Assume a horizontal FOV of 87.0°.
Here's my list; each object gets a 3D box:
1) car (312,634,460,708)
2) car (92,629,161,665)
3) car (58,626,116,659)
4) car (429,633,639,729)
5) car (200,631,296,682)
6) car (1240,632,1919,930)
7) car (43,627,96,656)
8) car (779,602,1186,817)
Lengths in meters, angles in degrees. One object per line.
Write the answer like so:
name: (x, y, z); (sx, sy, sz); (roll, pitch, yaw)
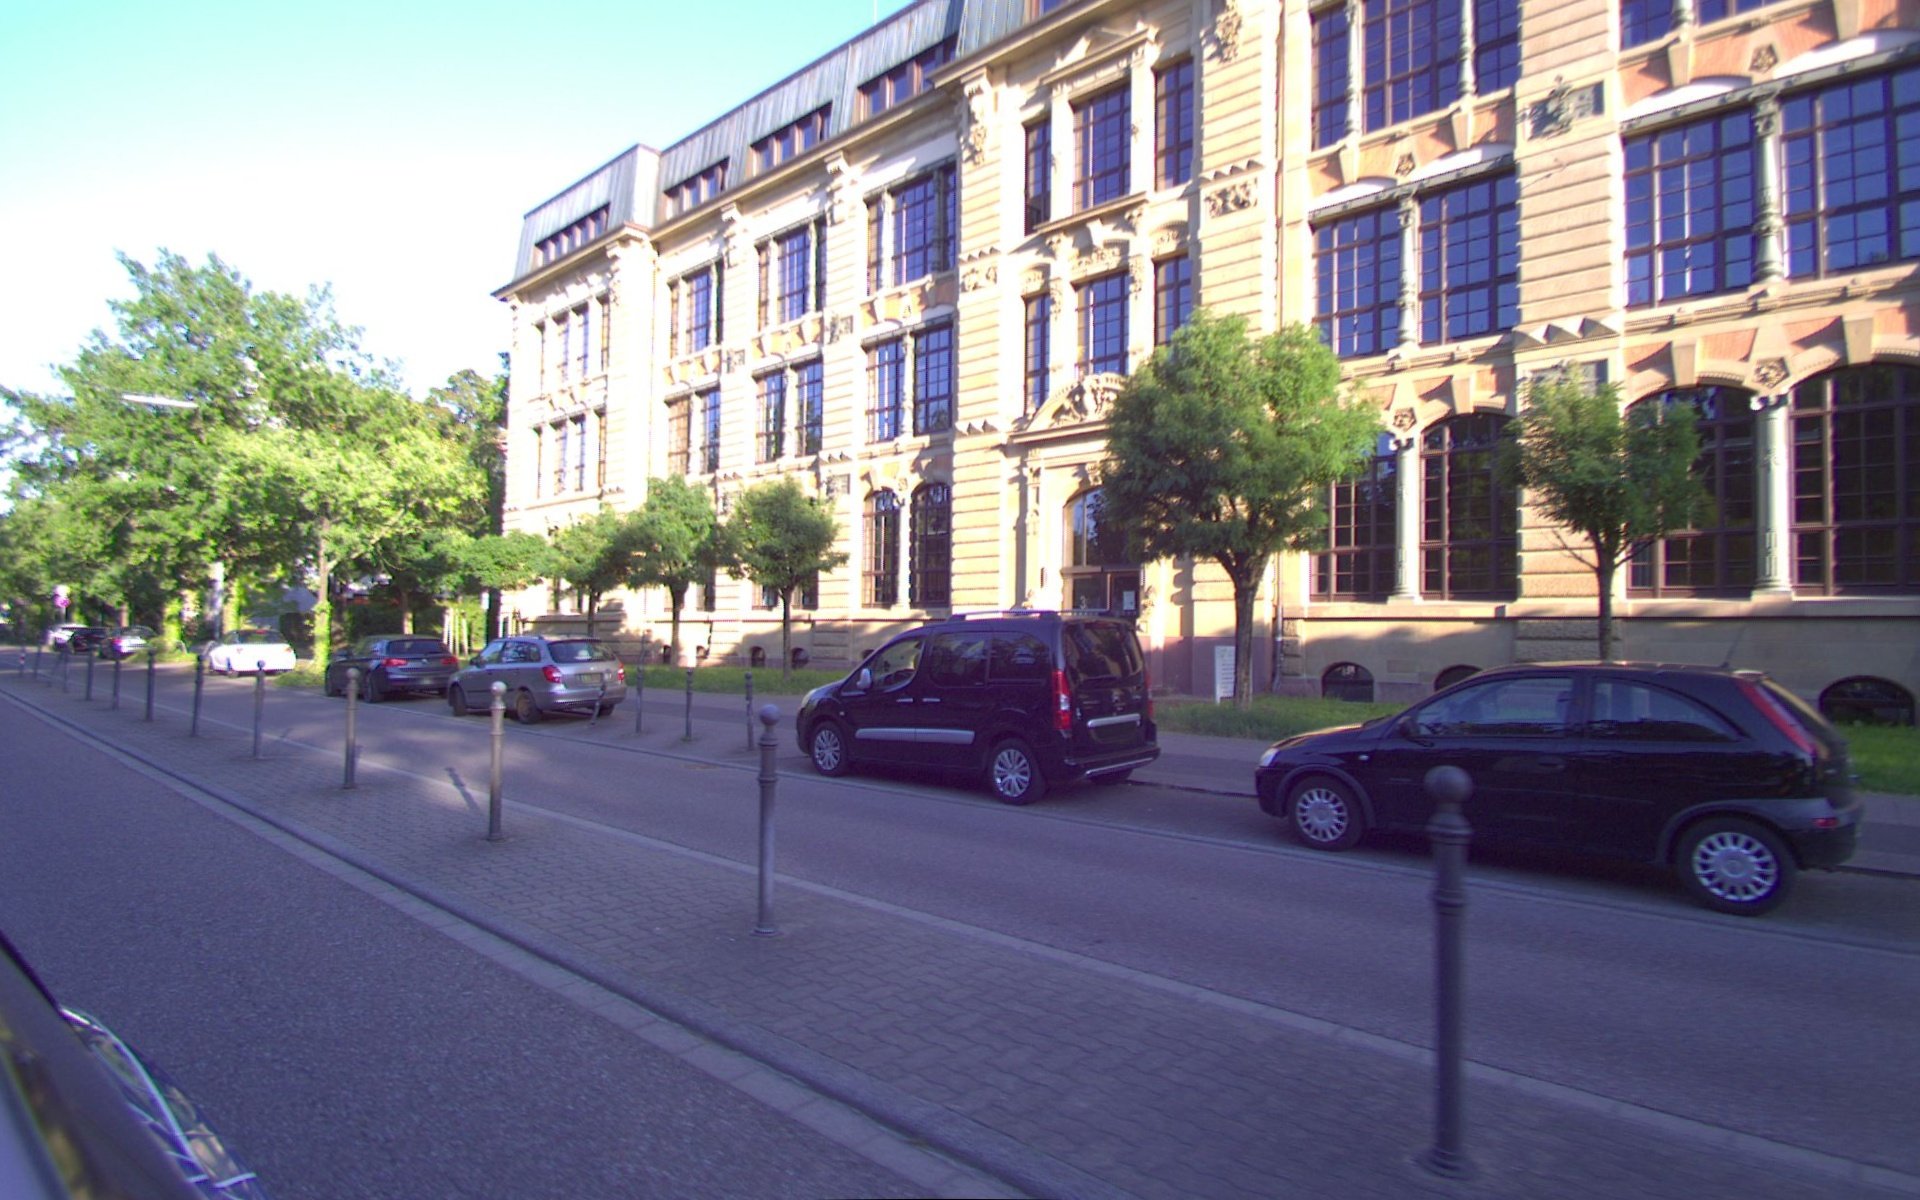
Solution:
car: (-13.016, 1.524, 22.845); (4.376, 1.507, 1.600); (-1, -3, 42)
car: (-37.568, 2.076, 45.557); (4.863, 1.522, 1.782); (-1, -2, 43)
car: (-45.471, 2.200, 52.708); (4.146, 1.628, 1.761); (-1, -2, 42)
car: (-7.811, 1.372, 18.380); (4.373, 1.507, 1.701); (-1, -1, 39)
car: (-22.334, 1.723, 31.700); (3.923, 1.507, 1.600); (-1, -3, 42)
car: (4.158, 0.997, 7.172); (3.855, 1.481, 1.677); (-1, -1, 44)
car: (-51.422, 2.385, 58.390); (4.146, 1.628, 1.784); (-1, -3, 42)
car: (0.079, 1.007, 10.992); (4.332, 1.880, 1.758); (-2, -1, 43)
